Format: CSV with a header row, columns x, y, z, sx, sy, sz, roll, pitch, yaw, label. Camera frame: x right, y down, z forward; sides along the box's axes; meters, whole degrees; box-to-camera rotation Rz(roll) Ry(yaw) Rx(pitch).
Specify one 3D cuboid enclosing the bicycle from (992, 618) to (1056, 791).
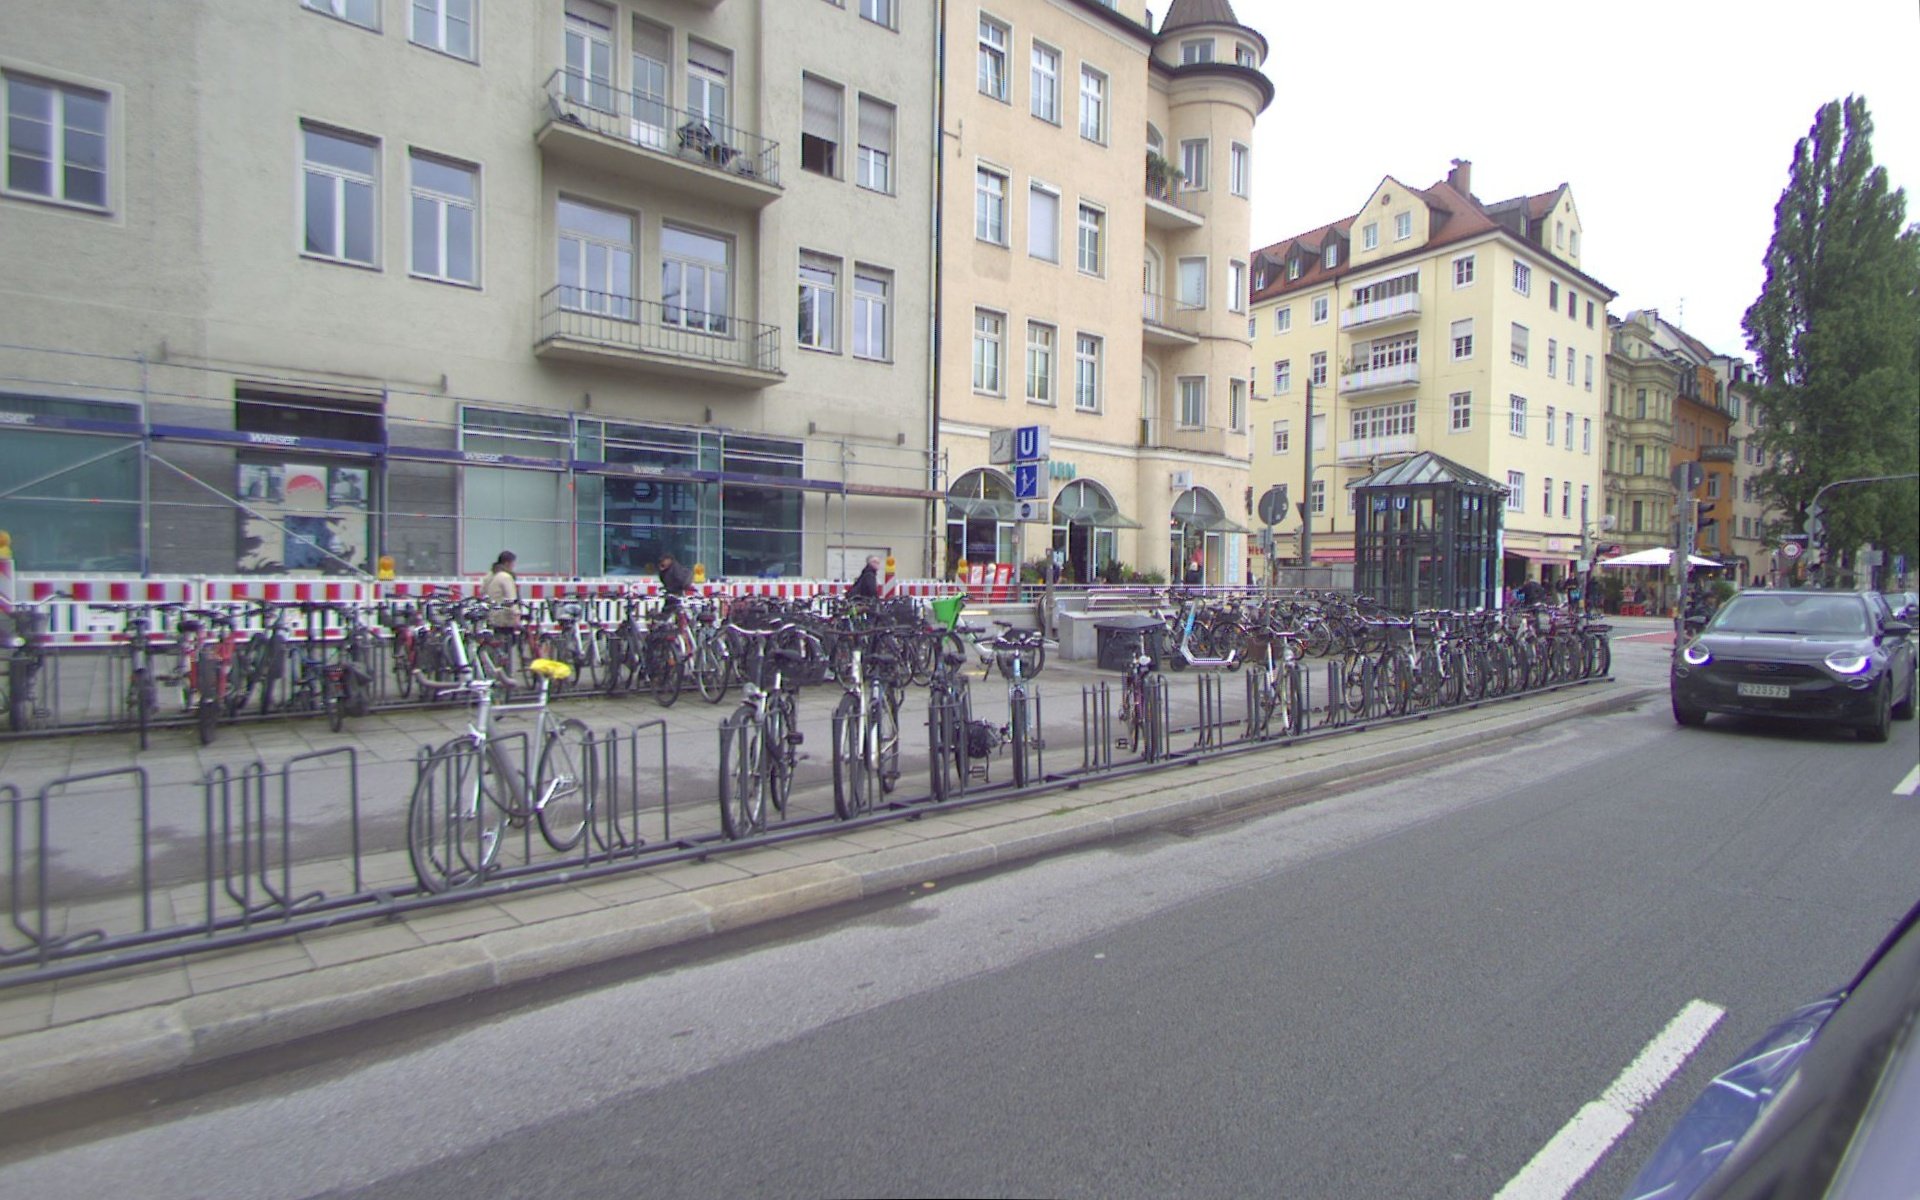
x,y,z,sx,sy,sz,roll,pitch,yaw,label
0.475,0.680,7.263,0.390,1.073,1.849,0,-2,5,bicycle

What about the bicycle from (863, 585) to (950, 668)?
x,y,z,sx,sy,sz,roll,pitch,yaw,label
-0.807,0.357,14.869,0.402,1.091,1.651,0,3,-37,bicycle

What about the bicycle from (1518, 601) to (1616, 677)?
x,y,z,sx,sy,sz,roll,pitch,yaw,label
9.044,0.579,15.156,0.390,1.073,1.850,0,-2,2,bicycle

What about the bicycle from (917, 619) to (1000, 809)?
x,y,z,sx,sy,sz,roll,pitch,yaw,label
0.025,0.673,6.680,0.390,1.073,1.849,0,-2,5,bicycle

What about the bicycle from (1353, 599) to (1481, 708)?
x,y,z,sx,sy,sz,roll,pitch,yaw,label
5.328,0.585,11.921,0.578,1.151,1.797,0,1,-4,bicycle

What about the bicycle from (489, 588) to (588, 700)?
x,y,z,sx,sy,sz,roll,pitch,yaw,label
-4.679,0.447,11.179,1.531,1.091,0.404,4,3,43,bicycle

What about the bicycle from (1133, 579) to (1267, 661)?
x,y,z,sx,sy,sz,roll,pitch,yaw,label
4.020,0.297,17.174,0.617,1.242,2.344,0,2,-37,bicycle

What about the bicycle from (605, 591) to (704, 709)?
x,y,z,sx,sy,sz,roll,pitch,yaw,label
-3.233,0.486,10.633,0.403,1.091,1.538,-1,3,-41,bicycle

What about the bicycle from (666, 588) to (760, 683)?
x,y,z,sx,sy,sz,roll,pitch,yaw,label
-3.173,0.421,12.941,1.447,1.091,0.404,4,3,42,bicycle

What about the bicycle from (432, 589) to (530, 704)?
x,y,z,sx,sy,sz,roll,pitch,yaw,label
-5.139,0.460,10.813,1.531,1.091,0.404,4,3,43,bicycle

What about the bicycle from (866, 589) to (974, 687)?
x,y,z,sx,sy,sz,roll,pitch,yaw,label
-0.538,0.446,12.803,0.403,1.091,1.654,-1,3,-41,bicycle

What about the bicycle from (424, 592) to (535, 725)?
x,y,z,sx,sy,sz,roll,pitch,yaw,label
-4.497,0.505,9.437,1.447,1.091,0.404,4,3,42,bicycle

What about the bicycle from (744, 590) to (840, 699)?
x,y,z,sx,sy,sz,roll,pitch,yaw,label
-1.955,0.467,11.610,0.402,1.091,1.640,0,3,-35,bicycle

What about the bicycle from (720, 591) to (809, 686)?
x,y,z,sx,sy,sz,roll,pitch,yaw,label
-2.540,0.462,13.015,0.403,1.091,1.529,-1,3,-41,bicycle

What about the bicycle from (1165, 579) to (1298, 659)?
x,y,z,sx,sy,sz,roll,pitch,yaw,label
4.645,0.283,17.521,0.617,1.242,2.319,0,2,-37,bicycle

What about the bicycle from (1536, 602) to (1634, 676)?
x,y,z,sx,sy,sz,roll,pitch,yaw,label
9.586,0.598,15.585,0.390,1.073,1.850,0,-2,2,bicycle

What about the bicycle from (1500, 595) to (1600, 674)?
x,y,z,sx,sy,sz,roll,pitch,yaw,label
8.499,0.498,14.658,0.390,1.073,1.850,0,-2,2,bicycle

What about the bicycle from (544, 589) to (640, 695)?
x,y,z,sx,sy,sz,roll,pitch,yaw,label
-4.266,0.457,11.692,1.447,1.091,0.404,4,3,42,bicycle

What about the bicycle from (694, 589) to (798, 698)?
x,y,z,sx,sy,sz,roll,pitch,yaw,label
-2.472,0.459,11.555,0.403,1.091,1.660,-1,3,-41,bicycle

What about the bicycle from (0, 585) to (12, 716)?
x,y,z,sx,sy,sz,roll,pitch,yaw,label
-8.207,0.470,8.210,0.402,1.116,1.636,0,3,-31,bicycle

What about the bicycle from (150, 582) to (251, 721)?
x,y,z,sx,sy,sz,roll,pitch,yaw,label
-7.018,0.429,9.327,1.627,1.116,0.404,4,3,41,bicycle

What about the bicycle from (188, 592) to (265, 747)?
x,y,z,sx,sy,sz,roll,pitch,yaw,label
-6.000,0.518,8.316,0.402,1.091,1.454,0,3,-32,bicycle

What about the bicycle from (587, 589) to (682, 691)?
x,y,z,sx,sy,sz,roll,pitch,yaw,label
-3.919,0.445,12.134,1.447,1.091,0.404,4,3,42,bicycle

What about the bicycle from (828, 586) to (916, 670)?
x,y,z,sx,sy,sz,roll,pitch,yaw,label
-1.271,0.370,14.457,0.403,1.091,1.449,-1,3,-45,bicycle

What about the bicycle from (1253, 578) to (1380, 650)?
x,y,z,sx,sy,sz,roll,pitch,yaw,label
6.757,0.225,19.315,0.617,1.242,2.319,0,2,-37,bicycle

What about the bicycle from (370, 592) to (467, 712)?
x,y,z,sx,sy,sz,roll,pitch,yaw,label
-5.590,0.497,10.417,1.447,1.091,0.404,4,3,42,bicycle

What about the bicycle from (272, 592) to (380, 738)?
x,y,z,sx,sy,sz,roll,pitch,yaw,label
-5.475,0.516,8.715,1.447,1.091,0.404,4,3,42,bicycle

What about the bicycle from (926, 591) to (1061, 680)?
x,y,z,sx,sy,sz,roll,pitch,yaw,label
0.434,0.457,13.312,1.728,1.091,0.410,1,2,0,bicycle

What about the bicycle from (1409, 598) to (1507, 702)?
x,y,z,sx,sy,sz,roll,pitch,yaw,label
6.009,0.570,12.285,0.341,1.151,1.527,0,1,-4,bicycle

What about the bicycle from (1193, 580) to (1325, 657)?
x,y,z,sx,sy,sz,roll,pitch,yaw,label
5.314,0.285,18.154,0.617,1.242,2.344,0,2,-37,bicycle

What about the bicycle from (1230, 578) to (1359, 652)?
x,y,z,sx,sy,sz,roll,pitch,yaw,label
6.178,0.240,18.850,0.617,1.242,2.331,0,2,-37,bicycle

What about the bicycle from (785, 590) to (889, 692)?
x,y,z,sx,sy,sz,roll,pitch,yaw,label
-1.517,0.466,12.313,0.403,1.091,1.624,-1,3,-41,bicycle

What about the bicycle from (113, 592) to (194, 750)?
x,y,z,sx,sy,sz,roll,pitch,yaw,label
-6.451,0.516,8.129,0.402,1.091,1.484,0,3,-35,bicycle

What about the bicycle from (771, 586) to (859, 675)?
x,y,z,sx,sy,sz,roll,pitch,yaw,label
-1.987,0.392,13.751,0.403,1.091,1.449,-1,3,-45,bicycle

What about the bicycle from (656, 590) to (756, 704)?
x,y,z,sx,sy,sz,roll,pitch,yaw,label
-2.783,0.474,10.997,0.403,1.091,1.527,-1,3,-41,bicycle

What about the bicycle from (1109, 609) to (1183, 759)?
x,y,z,sx,sy,sz,roll,pitch,yaw,label
1.475,0.630,8.215,0.390,1.073,1.849,0,-2,5,bicycle

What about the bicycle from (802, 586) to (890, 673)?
x,y,z,sx,sy,sz,roll,pitch,yaw,label
-1.605,0.381,14.110,0.403,1.091,1.449,-1,3,-45,bicycle

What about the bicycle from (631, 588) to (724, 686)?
x,y,z,sx,sy,sz,roll,pitch,yaw,label
-3.543,0.431,12.626,1.447,1.091,0.404,4,3,42,bicycle

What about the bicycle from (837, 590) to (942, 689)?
x,y,z,sx,sy,sz,roll,pitch,yaw,label
-0.903,0.455,12.547,0.403,1.091,1.604,-1,3,-41,bicycle

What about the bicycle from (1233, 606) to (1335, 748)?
x,y,z,sx,sy,sz,roll,pitch,yaw,label
2.990,0.658,9.477,0.481,1.151,1.794,0,1,4,bicycle

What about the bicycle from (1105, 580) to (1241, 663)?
x,y,z,sx,sy,sz,roll,pitch,yaw,label
3.483,0.310,16.777,0.617,1.242,2.369,0,2,-37,bicycle
